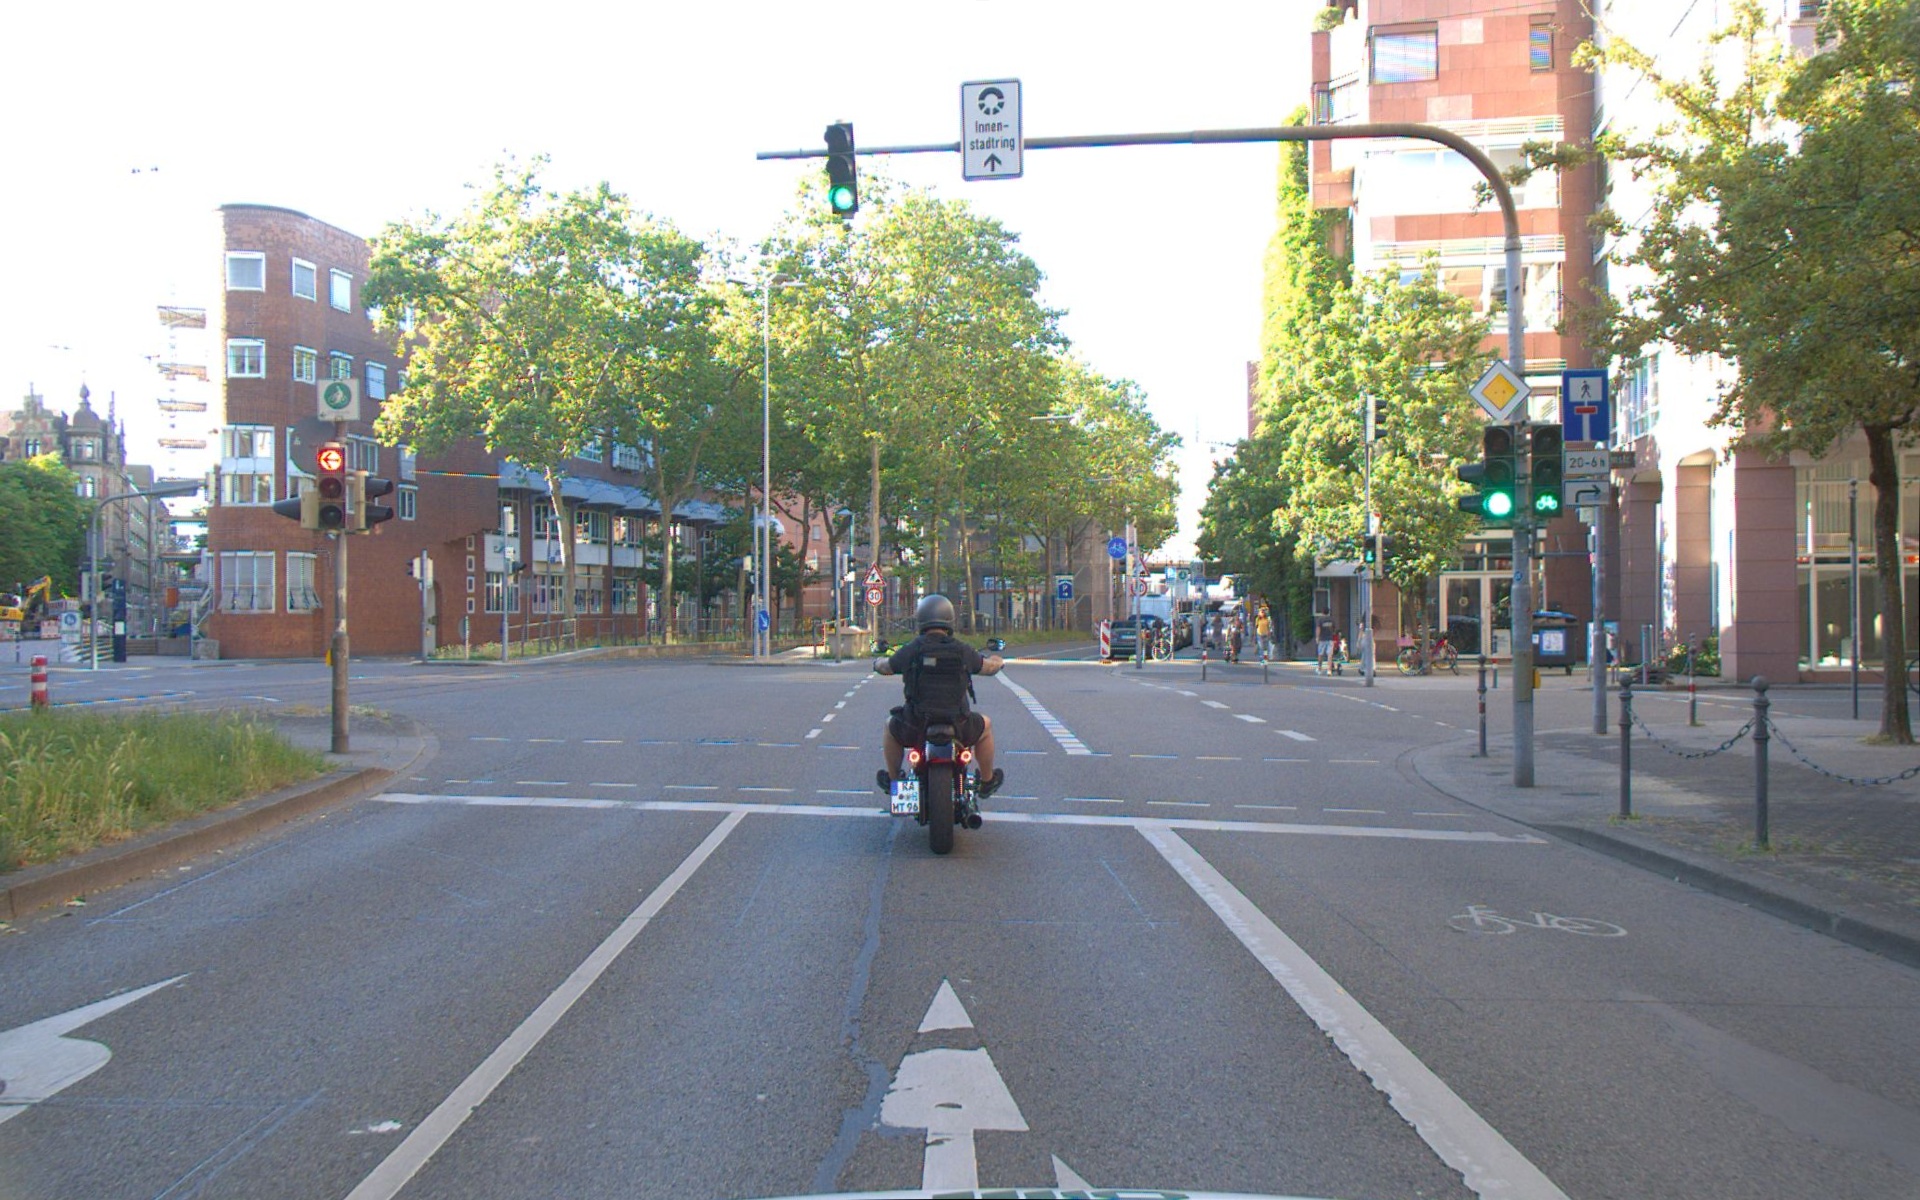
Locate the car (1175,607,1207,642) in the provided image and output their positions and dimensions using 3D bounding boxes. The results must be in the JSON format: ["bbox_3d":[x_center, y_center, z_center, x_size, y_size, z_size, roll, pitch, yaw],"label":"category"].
[{"bbox_3d":[13.877,1.455,99.114,1.796,2.049,4.391,0,-1,9],"label":"car"}]

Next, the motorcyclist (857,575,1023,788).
[{"bbox_3d":[-0.111,0.505,10.662,0.991,1.285,0.774,2,0,2],"label":"motorcyclist"}]

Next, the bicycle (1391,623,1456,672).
[{"bbox_3d":[11.952,1.223,42.707,1.534,1.248,0.578,0,-1,5],"label":"bicycle"}]

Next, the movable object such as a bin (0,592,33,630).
[{"bbox_3d":[-59.467,0.704,103.525,1.894,2.351,2.777,0,0,-15],"label":"movable object such as a bin"}]

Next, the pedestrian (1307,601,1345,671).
[{"bbox_3d":[9.454,0.921,42.771,0.771,1.794,0.608,0,-1,-11],"label":"pedestrian"}]

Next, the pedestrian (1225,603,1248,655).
[{"bbox_3d":[8.518,0.884,50.959,0.630,1.606,0.748,0,-1,3],"label":"pedestrian"}]

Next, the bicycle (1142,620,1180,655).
[{"bbox_3d":[6.273,1.160,51.691,0.723,1.071,1.748,0,0,-9],"label":"bicycle"}]

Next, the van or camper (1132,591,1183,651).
[{"bbox_3d":[9.004,0.945,74.961,2.005,2.585,5.777,0,-1,10],"label":"van or camper"}]

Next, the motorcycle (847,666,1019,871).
[{"bbox_3d":[-0.124,1.020,10.630,0.997,1.116,2.008,0,0,2],"label":"motorcycle"}]

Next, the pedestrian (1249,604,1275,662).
[{"bbox_3d":[9.257,1.015,50.700,0.685,1.764,0.768,0,-1,3],"label":"pedestrian"}]

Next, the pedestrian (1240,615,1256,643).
[{"bbox_3d":[15.161,1.543,87.095,0.749,1.471,0.780,1,-1,8],"label":"pedestrian"}]

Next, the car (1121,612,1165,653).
[{"bbox_3d":[7.656,1.320,68.821,1.585,1.648,4.488,0,-1,9],"label":"car"}]

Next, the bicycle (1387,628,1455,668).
[{"bbox_3d":[12.760,1.311,45.772,1.712,1.071,0.738,0,-1,27],"label":"bicycle"}]

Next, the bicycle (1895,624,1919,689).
[{"bbox_3d":[17.772,0.996,29.361,1.874,1.132,0.804,0,-1,8],"label":"bicycle"}]

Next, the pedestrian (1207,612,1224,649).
[{"bbox_3d":[11.618,1.377,75.219,0.747,1.673,0.547,0,-1,2],"label":"pedestrian"}]

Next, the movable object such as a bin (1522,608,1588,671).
[{"bbox_3d":[14.366,0.943,39.952,1.380,1.508,0.872,0,-1,11],"label":"movable object such as a bin"}]

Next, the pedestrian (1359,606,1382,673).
[{"bbox_3d":[10.503,0.998,42.353,0.449,1.702,0.680,0,-1,4],"label":"pedestrian"}]

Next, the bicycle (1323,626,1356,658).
[{"bbox_3d":[11.681,1.291,50.963,0.721,0.956,1.753,0,0,4],"label":"bicycle"}]

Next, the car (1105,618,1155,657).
[{"bbox_3d":[6.022,1.286,58.219,1.585,1.325,4.315,0,-1,8],"label":"car"}]

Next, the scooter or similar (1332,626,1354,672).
[{"bbox_3d":[9.917,1.262,42.852,0.386,1.178,1.250,0,-1,6],"label":"scooter or similar"}]

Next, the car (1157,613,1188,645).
[{"bbox_3d":[11.302,1.515,87.944,1.585,1.638,3.777,-1,0,8],"label":"car"}]
